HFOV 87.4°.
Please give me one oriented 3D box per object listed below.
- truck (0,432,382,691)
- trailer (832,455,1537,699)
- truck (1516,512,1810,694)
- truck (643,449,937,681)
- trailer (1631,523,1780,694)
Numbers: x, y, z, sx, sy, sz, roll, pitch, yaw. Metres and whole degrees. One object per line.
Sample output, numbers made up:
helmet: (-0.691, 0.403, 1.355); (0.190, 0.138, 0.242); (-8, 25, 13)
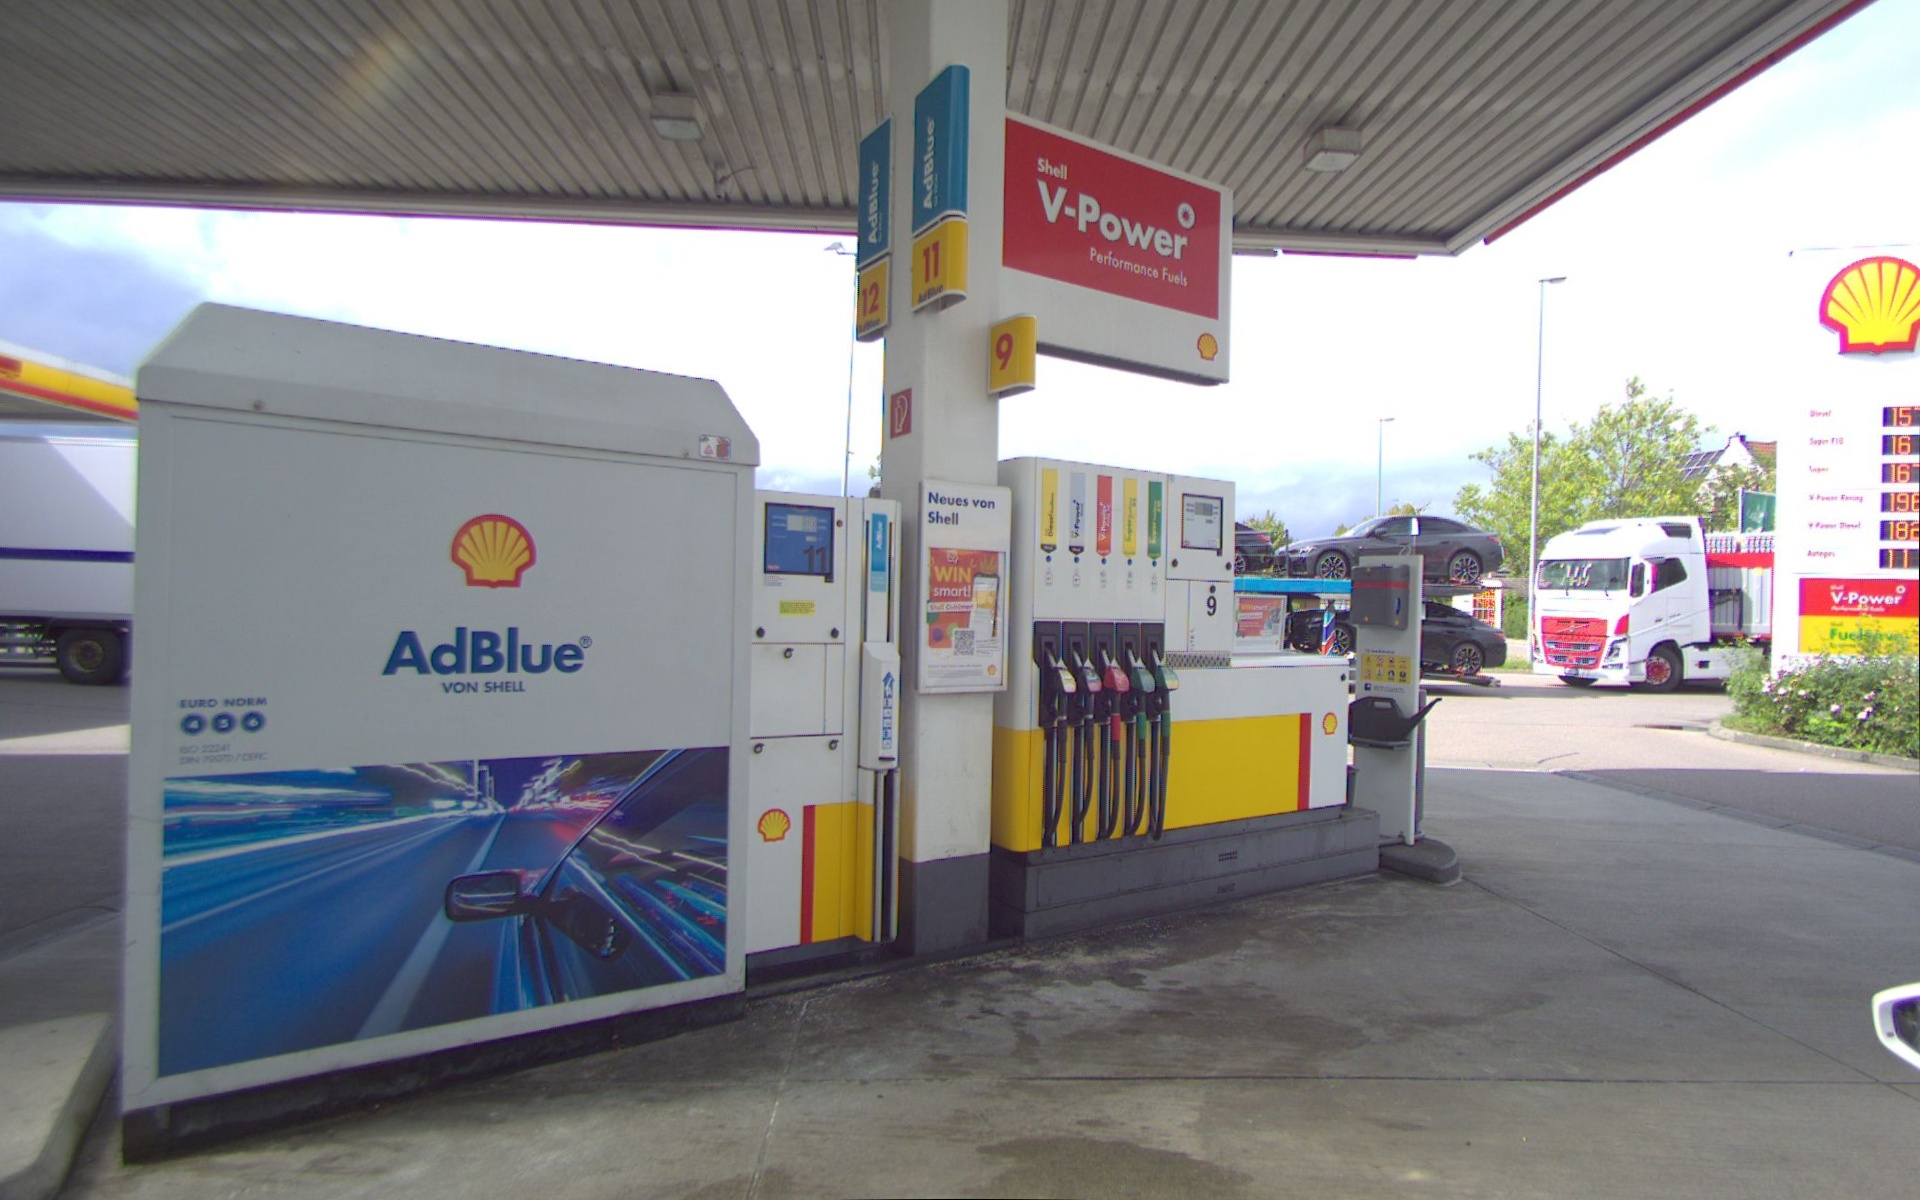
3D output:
truck: (-17.294, -0.731, 17.503); (12.654, 4.092, 2.534); (2, 0, -3)
trailer: (4.533, -0.459, 21.586); (14.077, 4.481, 2.746); (2, 0, 0)
truck: (16.593, 0.142, 23.768); (5.826, 3.897, 2.730); (2, 0, -19)
truck: (-3.442, -0.695, 21.548); (5.713, 4.479, 2.750); (2, 0, 0)
trailer: (21.119, 0.304, 28.253); (2.697, 3.826, 12.660); (2, 0, 38)
